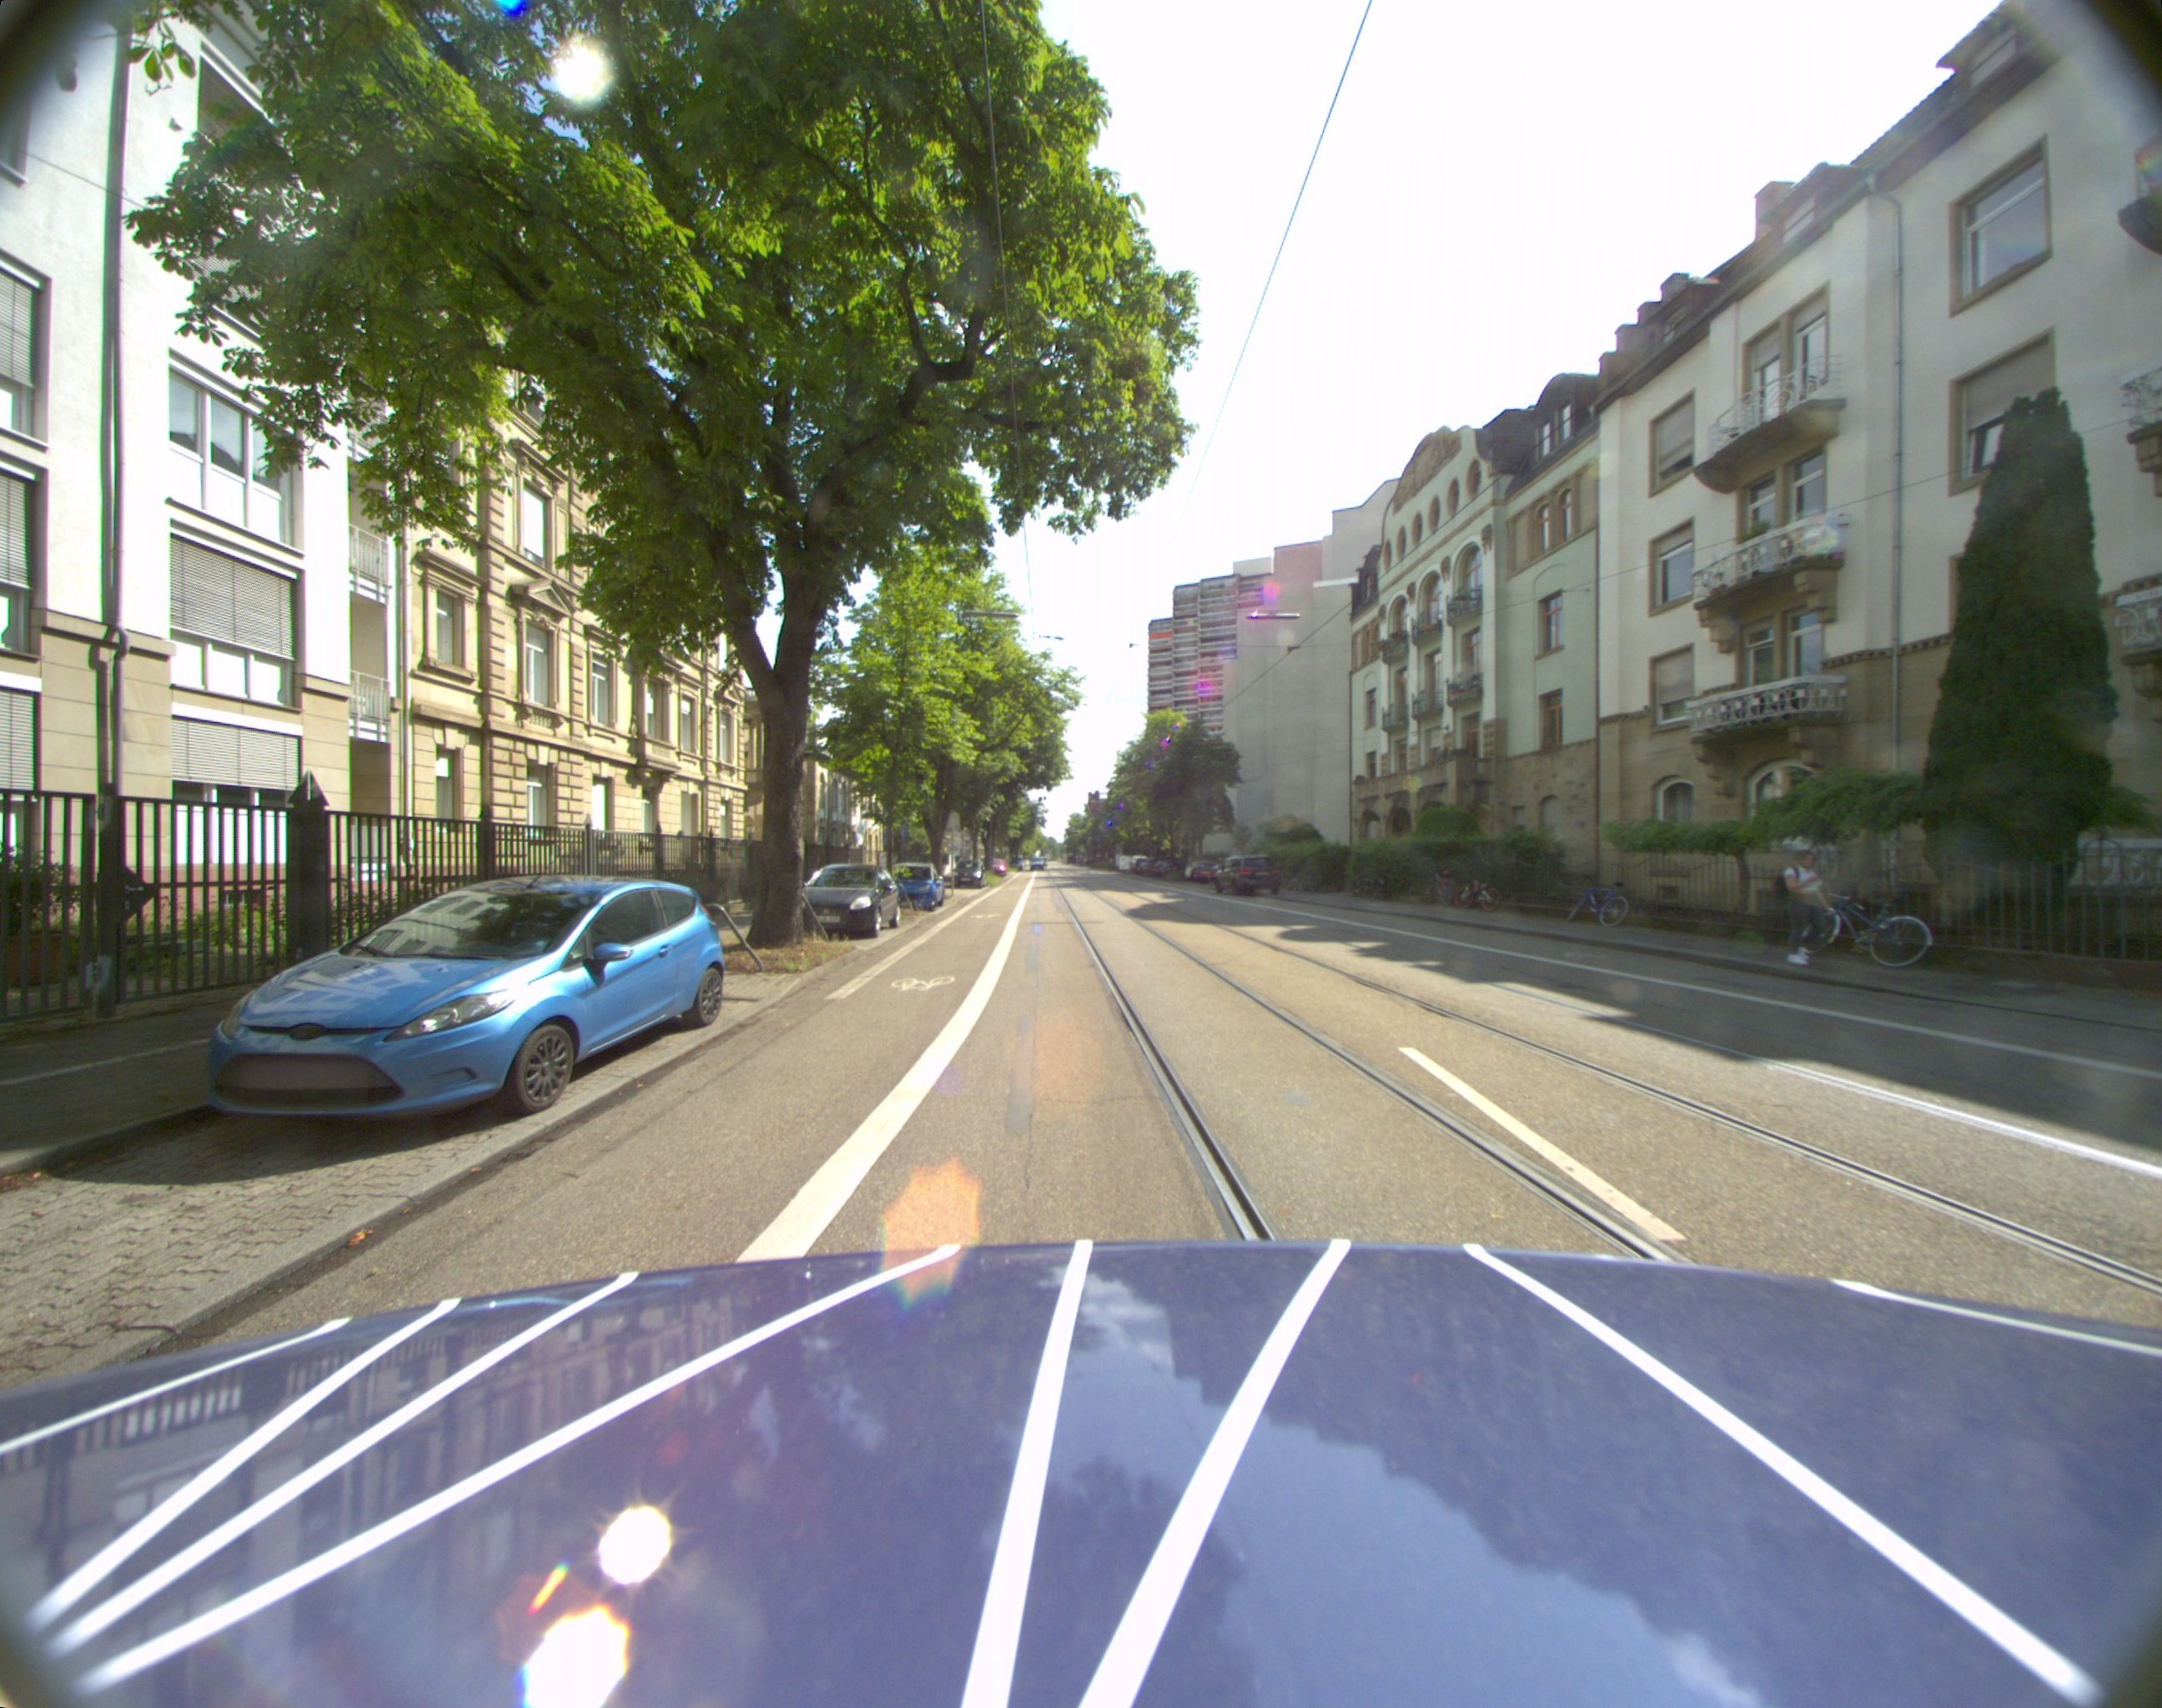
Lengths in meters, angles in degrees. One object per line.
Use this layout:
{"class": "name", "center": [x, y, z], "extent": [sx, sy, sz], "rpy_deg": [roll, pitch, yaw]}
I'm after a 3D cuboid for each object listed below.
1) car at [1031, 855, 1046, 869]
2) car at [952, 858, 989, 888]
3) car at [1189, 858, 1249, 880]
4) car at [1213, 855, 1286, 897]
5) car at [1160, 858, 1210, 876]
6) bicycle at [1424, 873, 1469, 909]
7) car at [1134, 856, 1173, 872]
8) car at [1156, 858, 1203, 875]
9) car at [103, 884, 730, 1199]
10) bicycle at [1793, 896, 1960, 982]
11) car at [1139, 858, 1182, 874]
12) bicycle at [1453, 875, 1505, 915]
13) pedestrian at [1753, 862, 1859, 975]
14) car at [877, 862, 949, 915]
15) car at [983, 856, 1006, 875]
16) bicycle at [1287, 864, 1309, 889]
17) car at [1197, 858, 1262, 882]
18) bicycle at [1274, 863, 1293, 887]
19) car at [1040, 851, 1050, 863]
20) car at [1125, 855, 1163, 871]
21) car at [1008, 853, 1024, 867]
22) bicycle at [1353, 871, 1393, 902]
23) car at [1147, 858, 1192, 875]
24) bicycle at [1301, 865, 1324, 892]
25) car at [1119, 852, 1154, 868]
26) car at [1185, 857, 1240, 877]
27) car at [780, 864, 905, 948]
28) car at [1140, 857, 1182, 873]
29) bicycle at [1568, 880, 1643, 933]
{"class": "car", "center": [-5.782, 1.053, 104.692], "extent": [1.974, 1.900, 4.817], "rpy_deg": [0, 0, -2]}
{"class": "car", "center": [-6.179, 1.027, 42.911], "extent": [1.744, 1.564, 3.659], "rpy_deg": [3, 0, -4]}
{"class": "car", "center": [9.571, 1.024, 52.877], "extent": [3.994, 1.499, 2.001], "rpy_deg": [0, 0, 8]}
{"class": "car", "center": [7.291, 0.902, 33.407], "extent": [1.922, 1.685, 4.400], "rpy_deg": [0, 0, -5]}
{"class": "car", "center": [8.576, 1.054, 62.475], "extent": [3.994, 1.499, 2.001], "rpy_deg": [0, 0, 8]}
{"class": "bicycle", "center": [10.720, 1.068, 22.344], "extent": [0.468, 0.990, 1.787], "rpy_deg": [0, 0, -1]}
{"class": "car", "center": [7.507, 1.016, 78.595], "extent": [3.994, 1.672, 2.001], "rpy_deg": [0, 0, 8]}
{"class": "car", "center": [8.483, 1.071, 65.631], "extent": [3.994, 1.499, 2.001], "rpy_deg": [0, 0, 8]}
{"class": "car", "center": [-4.319, 1.064, 5.818], "extent": [1.647, 1.467, 3.660], "rpy_deg": [3, 0, -3]}
{"class": "bicycle", "center": [11.105, 1.145, 10.716], "extent": [0.467, 0.990, 1.979], "rpy_deg": [0, 0, 7]}
{"class": "car", "center": [7.588, 1.091, 71.961], "extent": [3.994, 1.499, 2.001], "rpy_deg": [0, 0, 8]}
{"class": "bicycle", "center": [10.680, 1.072, 20.446], "extent": [0.468, 0.990, 1.787], "rpy_deg": [0, 0, -1]}
{"class": "pedestrian", "center": [10.211, 0.880, 10.725], "extent": [0.759, 1.532, 0.765], "rpy_deg": [0, 0, -2]}
{"class": "car", "center": [-5.300, 1.031, 24.332], "extent": [1.679, 1.467, 3.659], "rpy_deg": [3, 0, -4]}
{"class": "car", "center": [-7.442, 0.959, 65.868], "extent": [1.744, 1.564, 3.928], "rpy_deg": [3, 0, -4]}
{"class": "bicycle", "center": [10.114, 1.051, 35.485], "extent": [0.468, 1.128, 1.787], "rpy_deg": [0, 0, -1]}
{"class": "car", "center": [9.601, 1.010, 49.369], "extent": [3.994, 1.499, 2.001], "rpy_deg": [0, 0, 8]}
{"class": "bicycle", "center": [10.017, 1.009, 37.582], "extent": [0.468, 1.128, 1.787], "rpy_deg": [0, 0, -1]}
{"class": "car", "center": [-7.878, 0.736, 167.334], "extent": [2.146, 2.568, 4.817], "rpy_deg": [0, 0, -2]}
{"class": "car", "center": [6.931, 1.003, 83.022], "extent": [3.994, 1.672, 2.001], "rpy_deg": [0, 0, 8]}
{"class": "car", "center": [-7.727, 0.672, 90.544], "extent": [1.744, 1.564, 3.928], "rpy_deg": [3, 0, -4]}
{"class": "bicycle", "center": [10.137, 1.107, 26.432], "extent": [0.605, 0.990, 1.981], "rpy_deg": [0, 0, -1]}
{"class": "car", "center": [7.989, 1.113, 68.751], "extent": [3.994, 1.499, 2.001], "rpy_deg": [0, 0, 8]}
{"class": "bicycle", "center": [10.194, 1.069, 33.543], "extent": [0.468, 1.128, 1.787], "rpy_deg": [0, 0, -1]}
{"class": "car", "center": [6.519, 0.671, 88.857], "extent": [1.994, 1.740, 4.008], "rpy_deg": [-1, 1, 41]}
{"class": "car", "center": [9.711, 0.945, 56.425], "extent": [3.994, 1.499, 2.001], "rpy_deg": [0, 0, 8]}
{"class": "car", "center": [-4.902, 1.002, 16.117], "extent": [1.679, 1.467, 3.659], "rpy_deg": [3, 0, -4]}
{"class": "car", "center": [7.920, 1.093, 75.121], "extent": [3.994, 1.499, 2.001], "rpy_deg": [0, 0, 8]}
{"class": "bicycle", "center": [10.965, 1.078, 15.961], "extent": [0.467, 0.990, 1.787], "rpy_deg": [0, 0, 5]}
